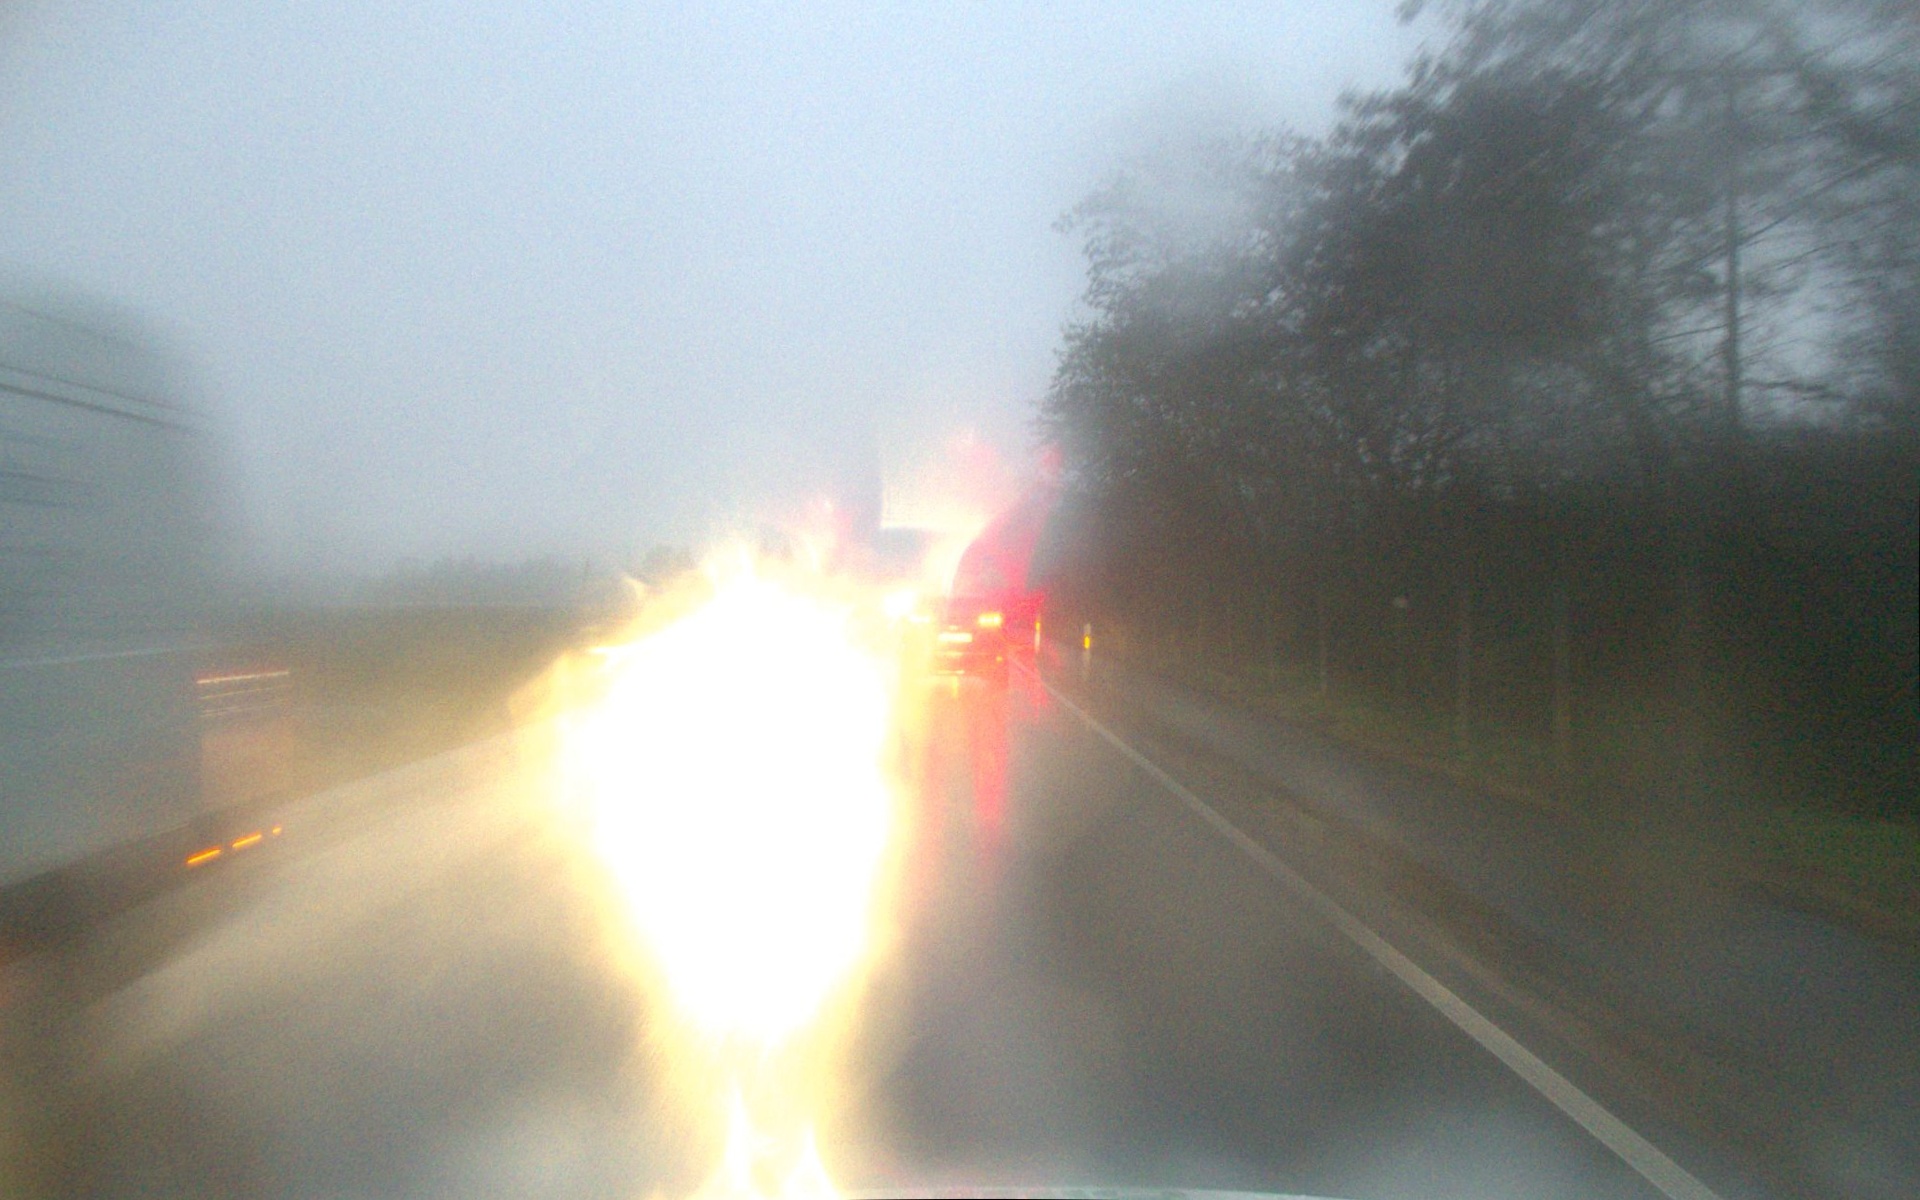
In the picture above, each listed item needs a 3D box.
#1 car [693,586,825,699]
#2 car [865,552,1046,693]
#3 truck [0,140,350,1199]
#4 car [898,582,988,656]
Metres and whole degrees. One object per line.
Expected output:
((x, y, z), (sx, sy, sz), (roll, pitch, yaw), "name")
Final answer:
((-3.579, 0.713, 30.091), (1.953, 1.854, 3.999), (-2, 0, -2), "car")
((-0.075, 0.361, 28.537), (2.763, 2.113, 5.803), (1, 0, 0), "car")
((-3.507, 0.206, 3.029), (2.224, 2.680, 7.032), (-3, 0, -2), "truck")
((-0.495, 0.547, 50.487), (2.539, 2.049, 5.803), (1, 0, 0), "car")
